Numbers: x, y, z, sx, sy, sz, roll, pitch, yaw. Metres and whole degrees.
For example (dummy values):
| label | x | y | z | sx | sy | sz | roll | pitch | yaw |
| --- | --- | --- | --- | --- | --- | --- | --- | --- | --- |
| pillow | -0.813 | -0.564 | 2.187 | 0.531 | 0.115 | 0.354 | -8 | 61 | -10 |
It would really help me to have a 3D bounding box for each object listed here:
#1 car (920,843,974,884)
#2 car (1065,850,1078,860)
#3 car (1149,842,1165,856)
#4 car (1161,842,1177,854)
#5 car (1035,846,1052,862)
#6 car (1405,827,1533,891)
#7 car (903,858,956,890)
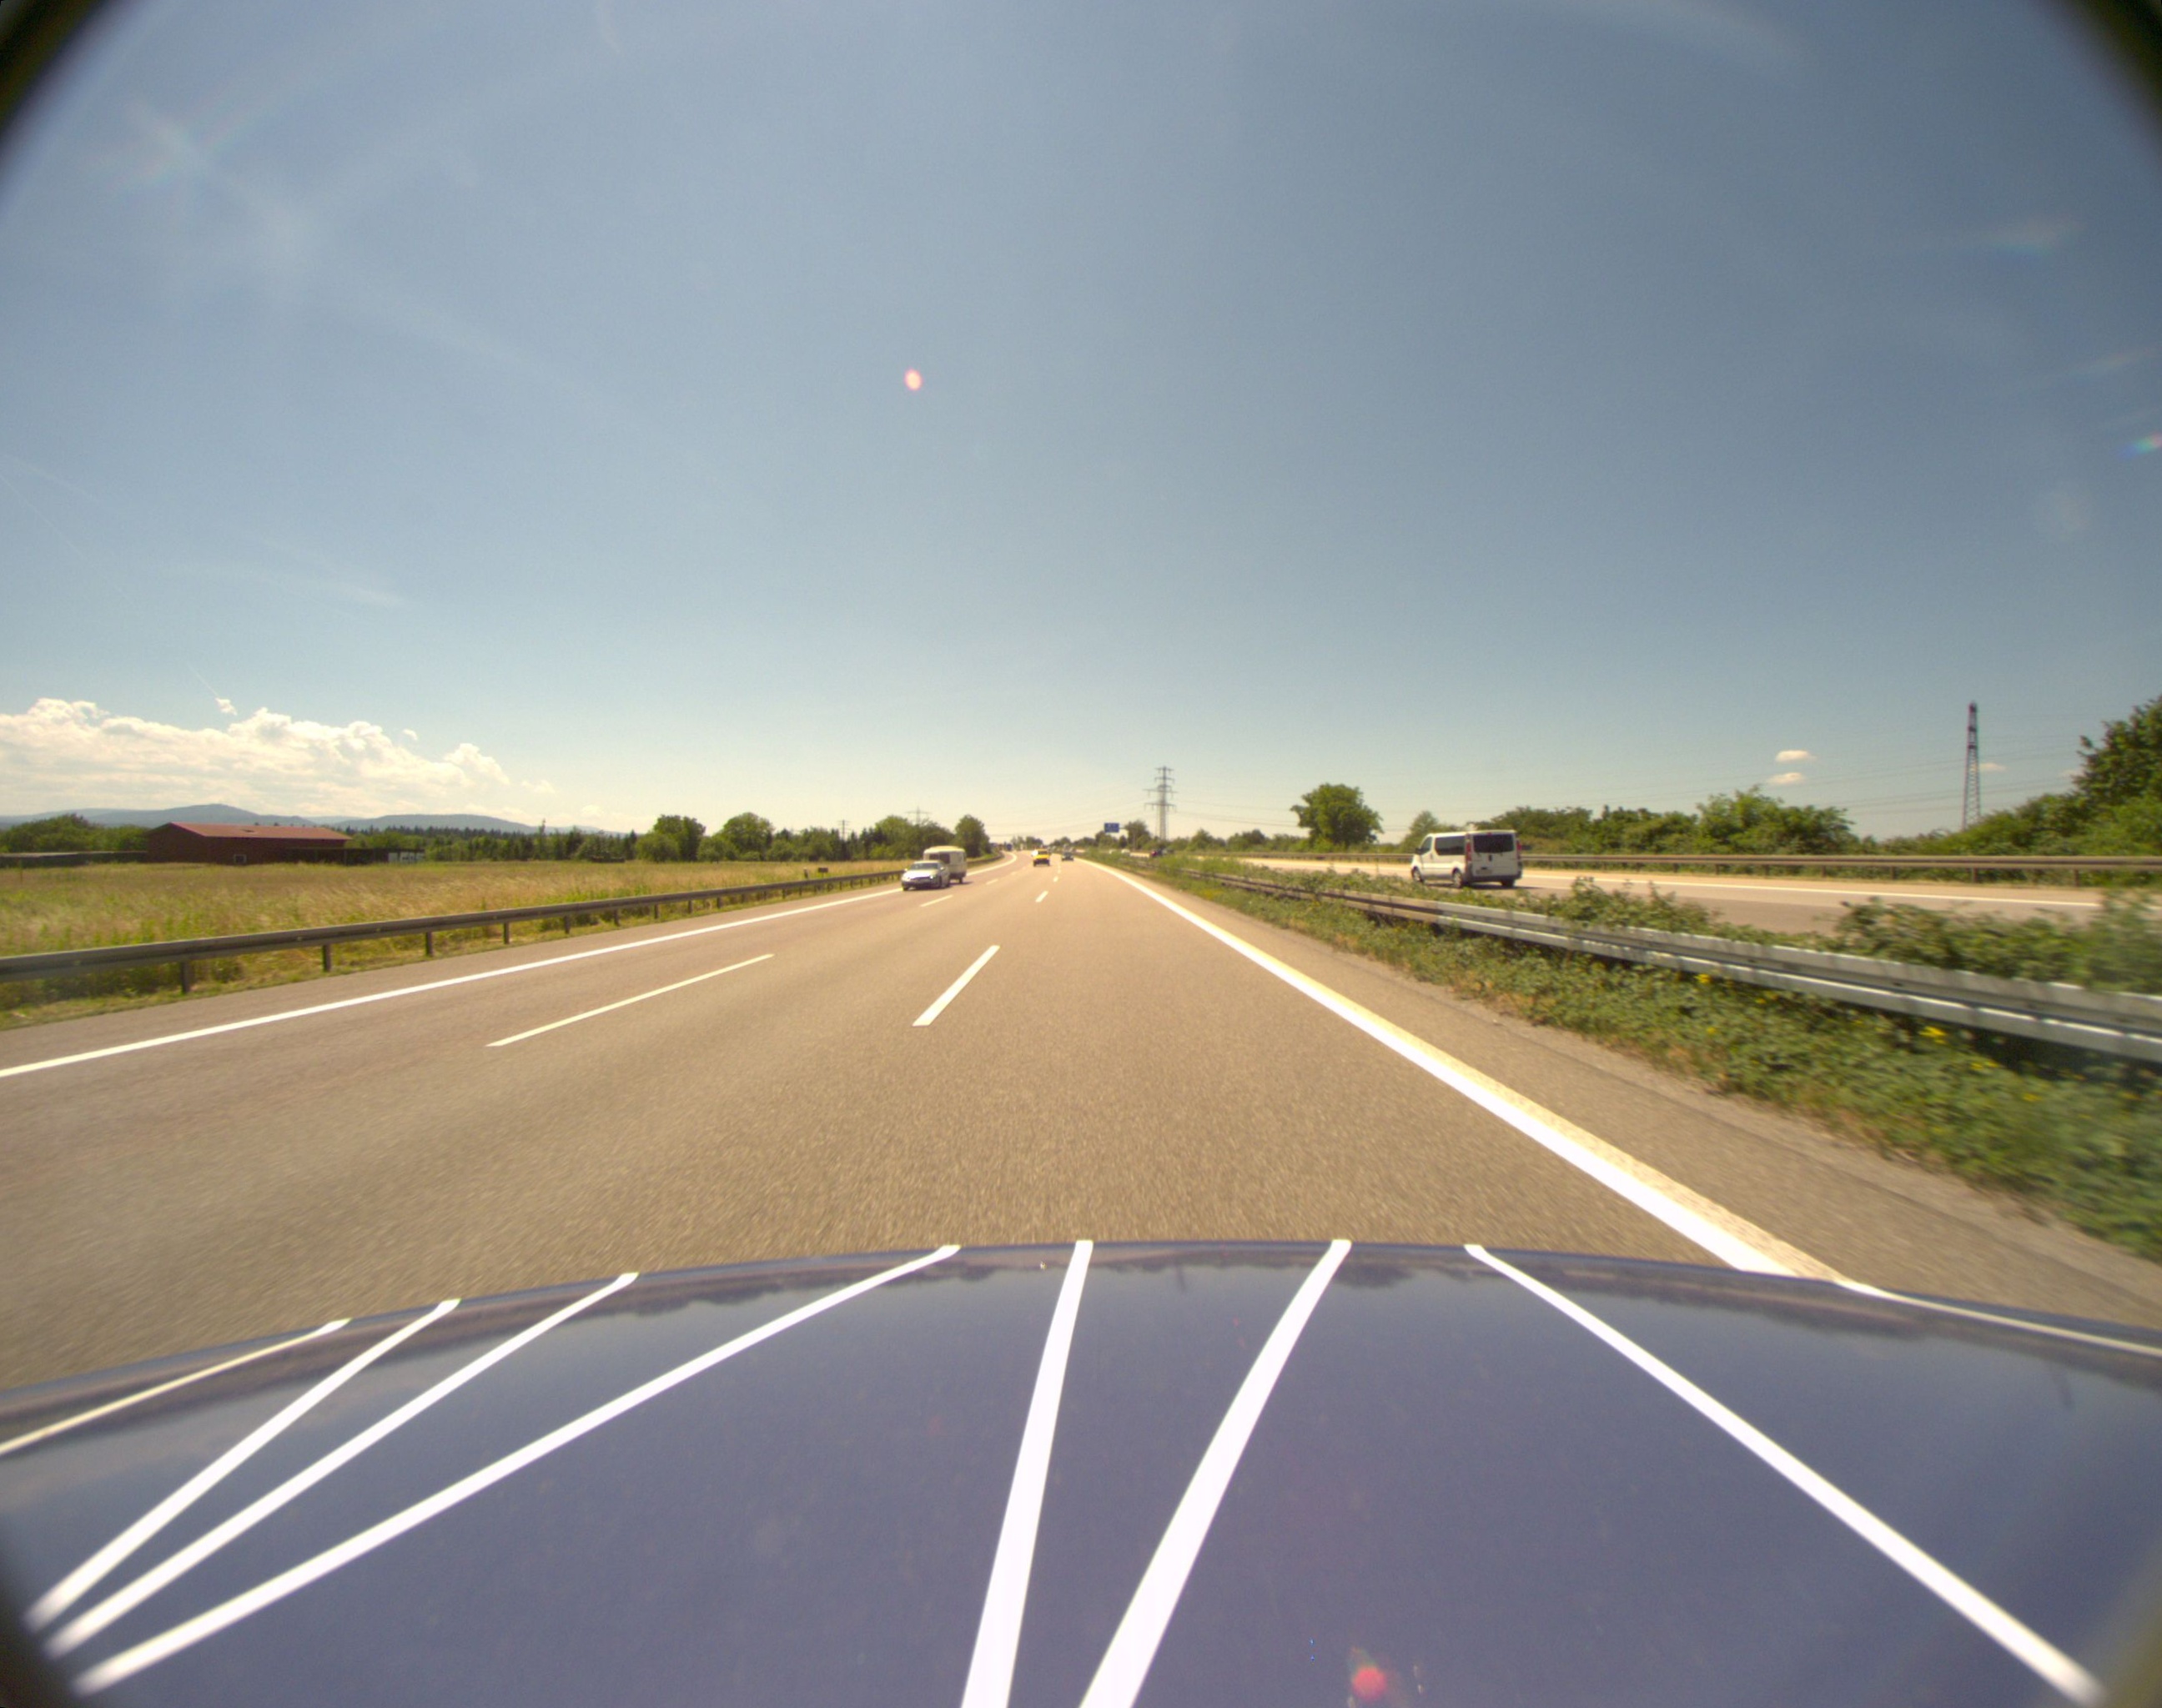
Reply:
| label | x | y | z | sx | sy | sz | roll | pitch | yaw |
| --- | --- | --- | --- | --- | --- | --- | --- | --- | --- |
| car | -7.807 | 0.526 | 44.831 | 2.188 | 2.253 | 4.951 | -1 | 1 | 1 |
| car | -1.566 | 0.112 | 120.607 | 1.726 | 1.478 | 3.998 | -2 | 0 | -4 |
| car | 11.545 | -0.758 | 115.671 | 1.909 | 2.002 | 4.823 | -2 | 1 | -2 |
| car | 14.551 | -0.986 | 125.953 | 1.909 | 2.002 | 4.823 | -2 | 1 | -2 |
| car | -4.347 | -0.019 | 88.443 | 1.776 | 1.882 | 3.832 | -1 | 1 | 1 |
| car | 13.505 | 0.154 | 26.839 | 1.909 | 2.002 | 4.823 | -2 | 1 | -2 |
| car | -7.592 | 0.963 | 38.411 | 1.784 | 1.467 | 4.000 | -1 | 0 | 1 |
